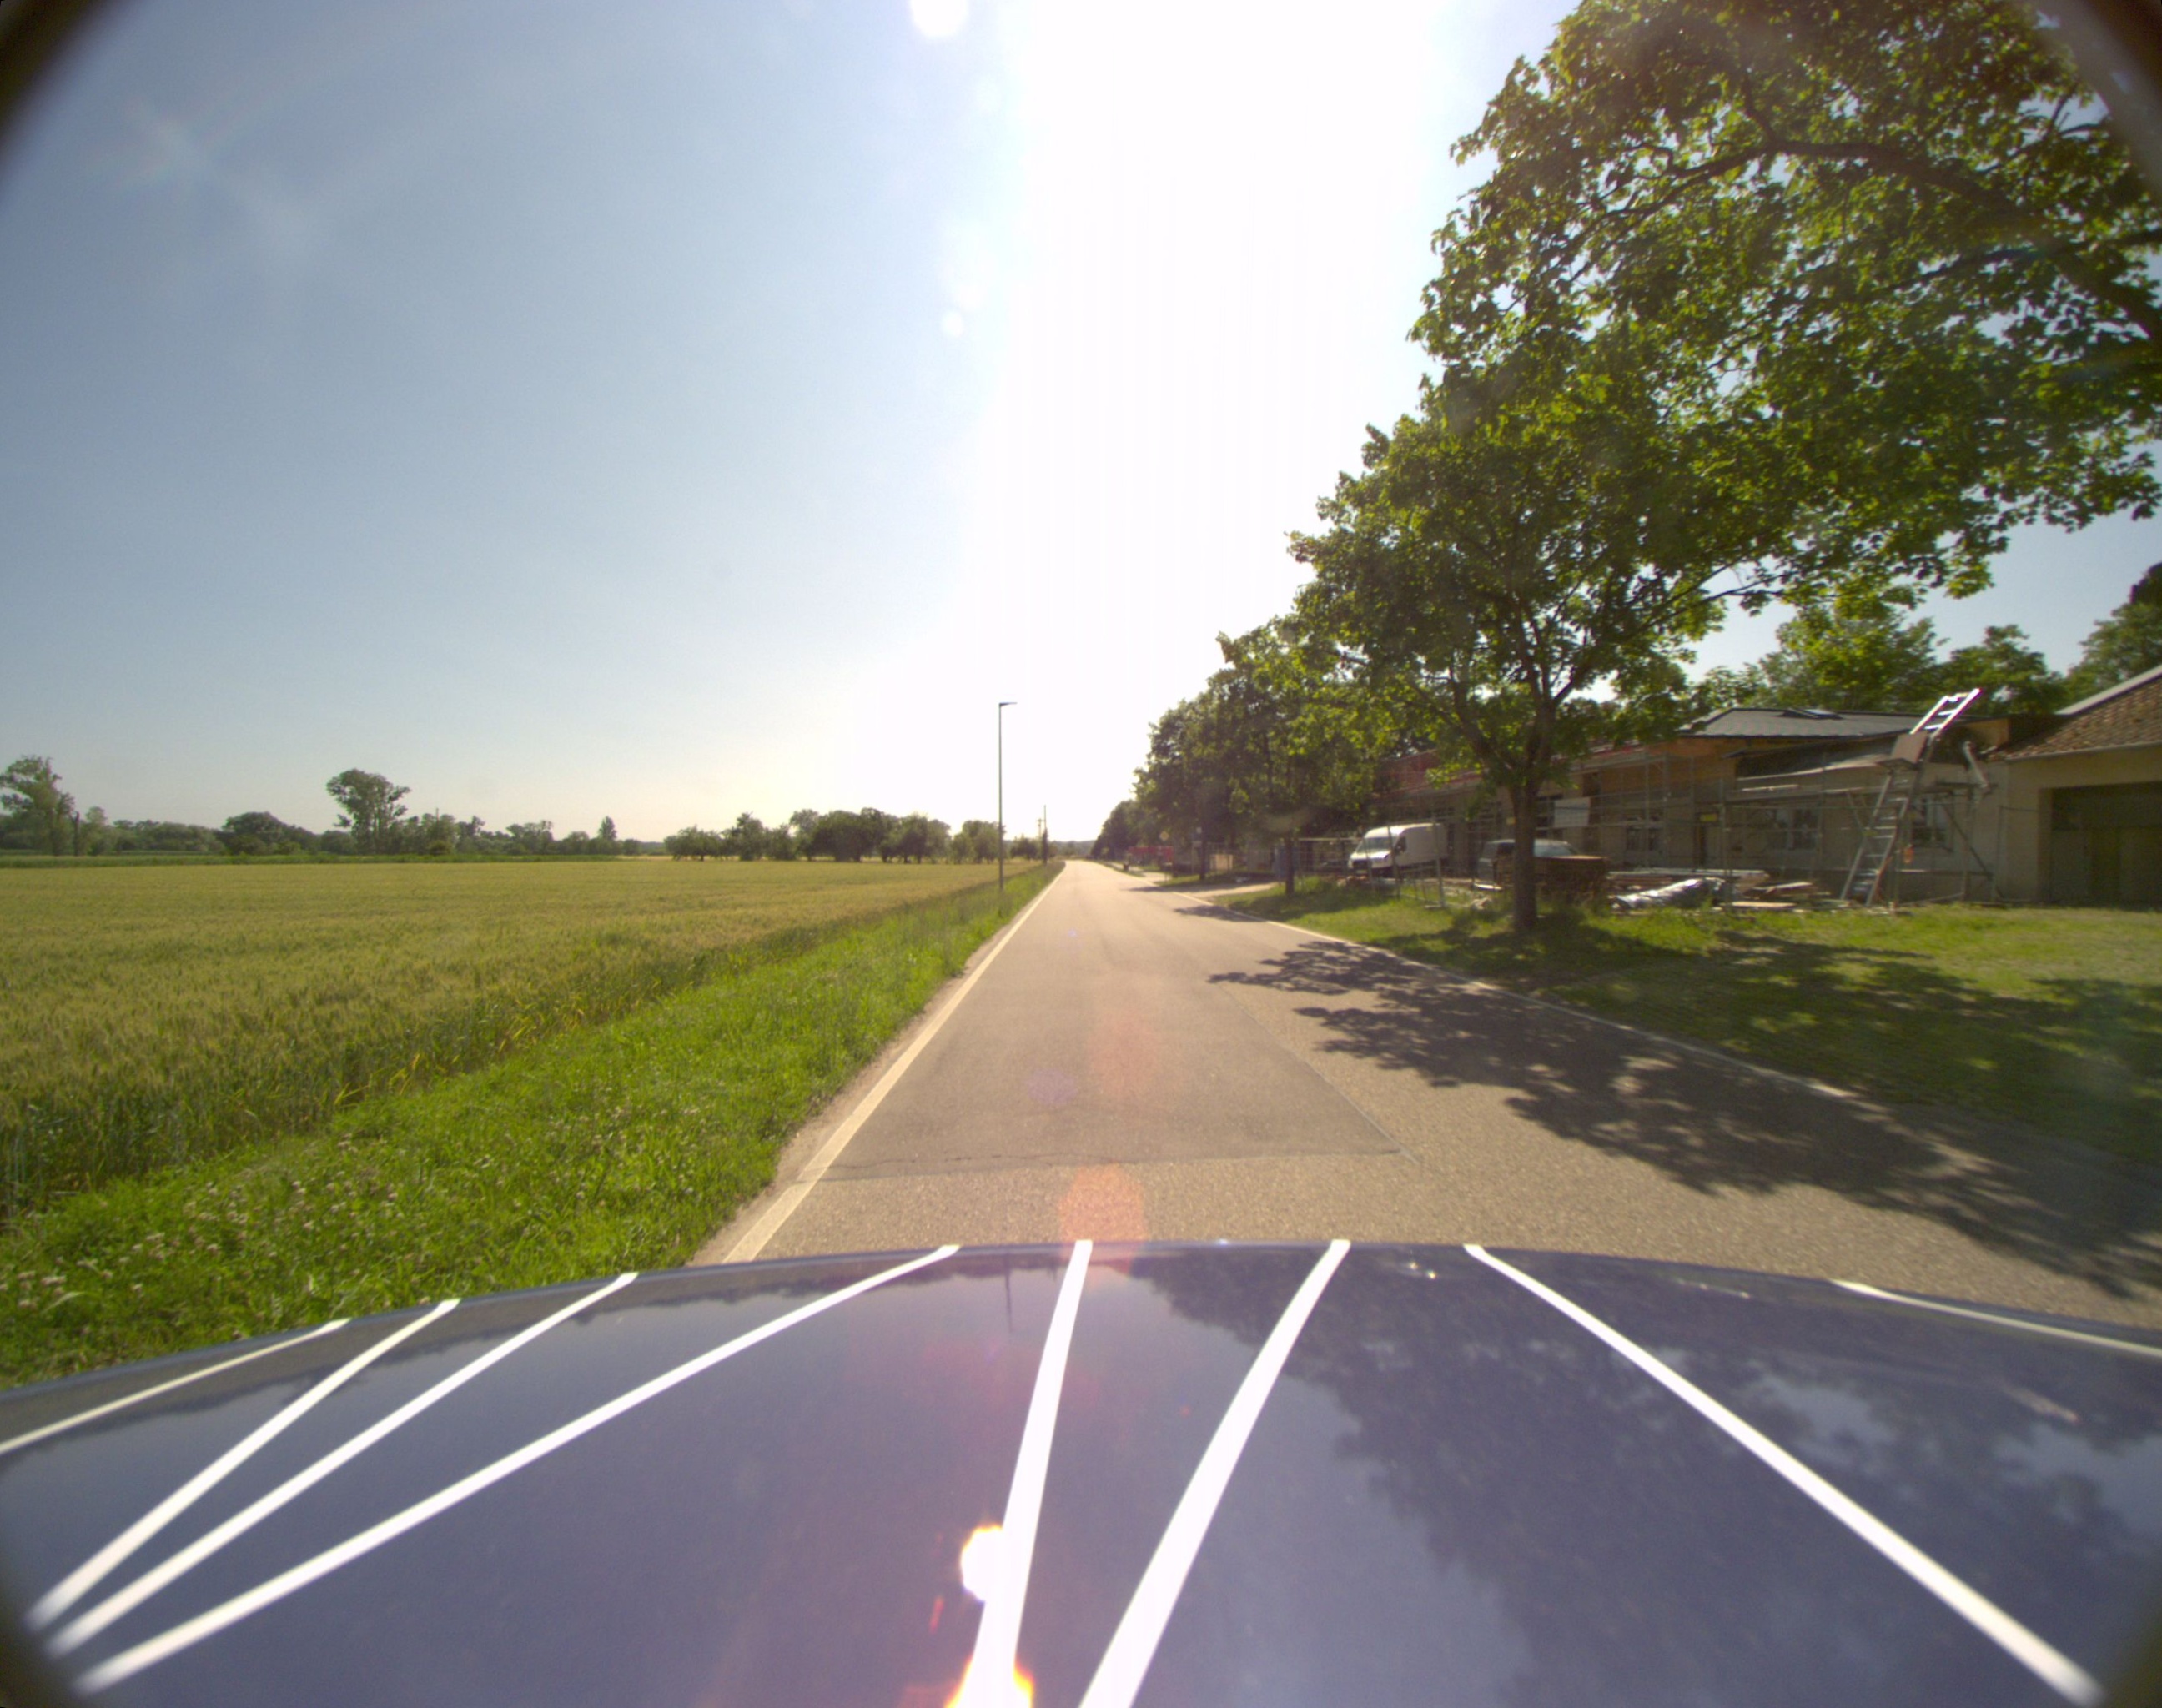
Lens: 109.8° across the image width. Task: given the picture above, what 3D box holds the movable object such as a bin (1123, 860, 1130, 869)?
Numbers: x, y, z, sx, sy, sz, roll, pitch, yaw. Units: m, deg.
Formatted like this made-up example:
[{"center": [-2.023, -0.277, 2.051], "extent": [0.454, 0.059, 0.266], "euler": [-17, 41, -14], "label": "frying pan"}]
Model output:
[{"center": [4.539, 1.052, 75.779], "extent": [0.563, 0.872, 0.614], "euler": [0, 1, 7], "label": "movable object such as a bin"}]

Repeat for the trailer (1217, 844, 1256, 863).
[{"center": [18.965, -0.110, 92.509], "extent": [4.239, 2.264, 1.826], "euler": [0, 0, -14], "label": "trailer"}]

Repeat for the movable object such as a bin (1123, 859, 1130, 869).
[{"center": [4.574, 0.970, 76.473], "extent": [0.700, 1.018, 0.748], "euler": [0, 1, 7], "label": "movable object such as a bin"}]

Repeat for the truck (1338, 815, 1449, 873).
[{"center": [14.470, -0.472, 35.024], "extent": [5.943, 2.469, 1.994], "euler": [-1, 1, -37], "label": "truck"}]

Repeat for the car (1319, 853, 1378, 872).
[{"center": [20.004, 0.645, 56.954], "extent": [3.812, 1.391, 1.758], "euler": [0, 0, -8], "label": "car"}]

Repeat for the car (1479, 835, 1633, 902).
[{"center": [14.365, 0.399, 23.324], "extent": [1.975, 1.827, 4.328], "euler": [-1, 0, -1], "label": "car"}]
